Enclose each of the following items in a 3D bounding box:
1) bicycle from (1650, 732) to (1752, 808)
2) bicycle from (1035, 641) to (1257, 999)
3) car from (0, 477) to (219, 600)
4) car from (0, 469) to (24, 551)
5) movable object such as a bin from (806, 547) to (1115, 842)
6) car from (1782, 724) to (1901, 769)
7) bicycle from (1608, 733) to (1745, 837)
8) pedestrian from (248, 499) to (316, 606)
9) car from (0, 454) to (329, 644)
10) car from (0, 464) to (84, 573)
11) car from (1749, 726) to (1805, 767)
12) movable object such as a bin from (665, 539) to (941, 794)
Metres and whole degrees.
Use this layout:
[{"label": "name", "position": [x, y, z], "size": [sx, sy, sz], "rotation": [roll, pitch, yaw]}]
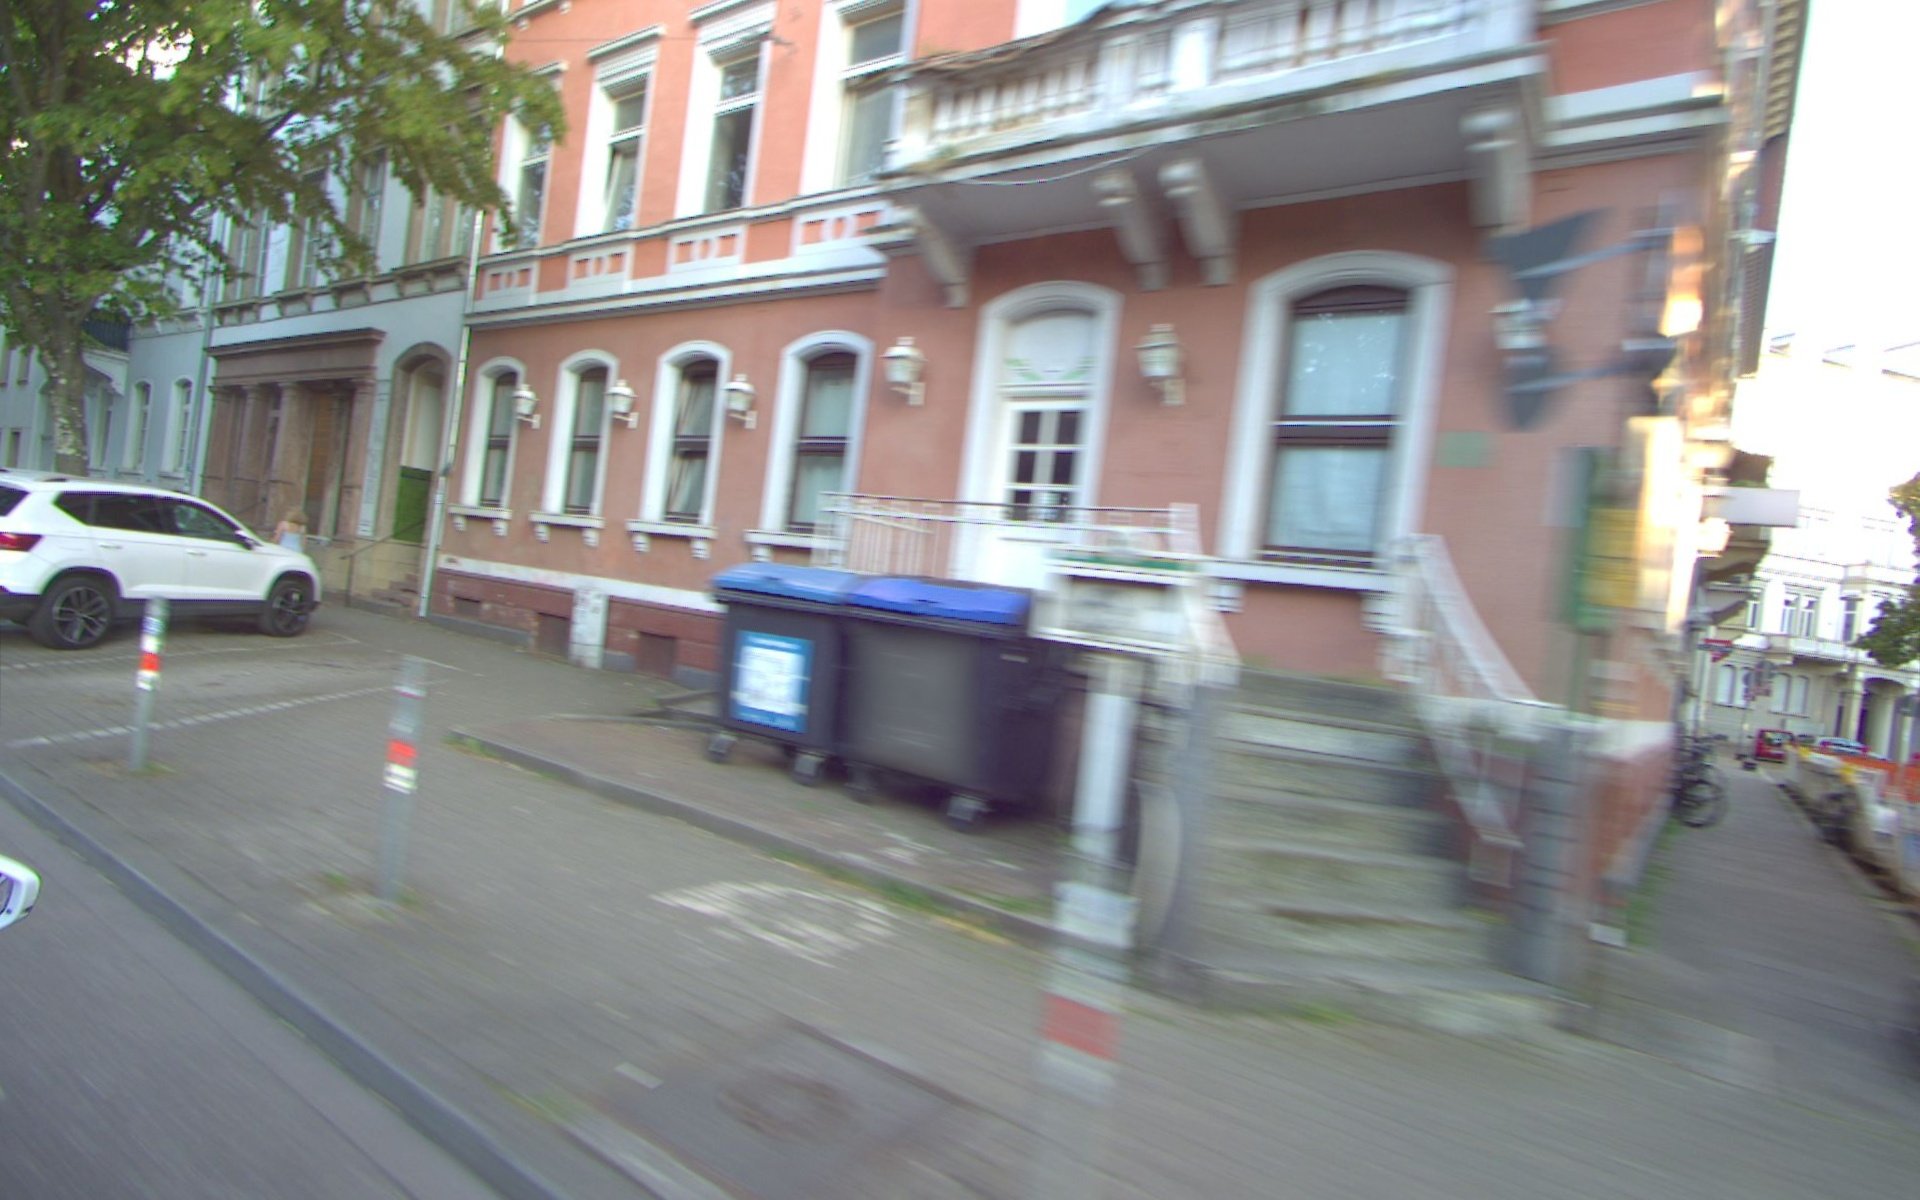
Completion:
[{"label": "bicycle", "position": [12.987, 2.965, 17.660], "size": [1.235, 1.088, 0.495], "rotation": [8, 0, 10]}, {"label": "bicycle", "position": [0.797, 0.902, 4.896], "size": [0.590, 1.282, 1.918], "rotation": [7, 0, 1]}, {"label": "car", "position": [-12.902, -0.890, 14.218], "size": [1.796, 1.496, 3.952], "rotation": [7, 1, 0]}, {"label": "car", "position": [-20.320, -1.894, 18.774], "size": [1.805, 1.624, 3.953], "rotation": [6, 1, 3]}, {"label": "movable object such as a bin", "position": [0.014, 0.547, 6.342], "size": [1.377, 1.520, 1.141], "rotation": [7, 0, 35]}, {"label": "car", "position": [42.565, 7.068, 48.627], "size": [4.158, 1.438, 1.533], "rotation": [7, 0, 3]}, {"label": "bicycle", "position": [9.697, 2.479, 13.655], "size": [1.375, 1.089, 0.462], "rotation": [8, 2, 36]}, {"label": "pedestrian", "position": [-11.056, -0.773, 16.414], "size": [0.615, 1.629, 0.586], "rotation": [8, 0, 35]}, {"label": "car", "position": [-8.965, -0.556, 10.699], "size": [1.642, 1.648, 3.953], "rotation": [7, 1, 5]}, {"label": "car", "position": [-15.810, -1.351, 15.248], "size": [1.868, 1.690, 3.947], "rotation": [6, 1, -8]}, {"label": "car", "position": [36.548, 6.505, 45.074], "size": [1.509, 1.438, 3.687], "rotation": [7, 0, 35]}, {"label": "movable object such as a bin", "position": [-1.109, 0.447, 7.170], "size": [1.377, 1.520, 1.141], "rotation": [7, 0, 35]}]
